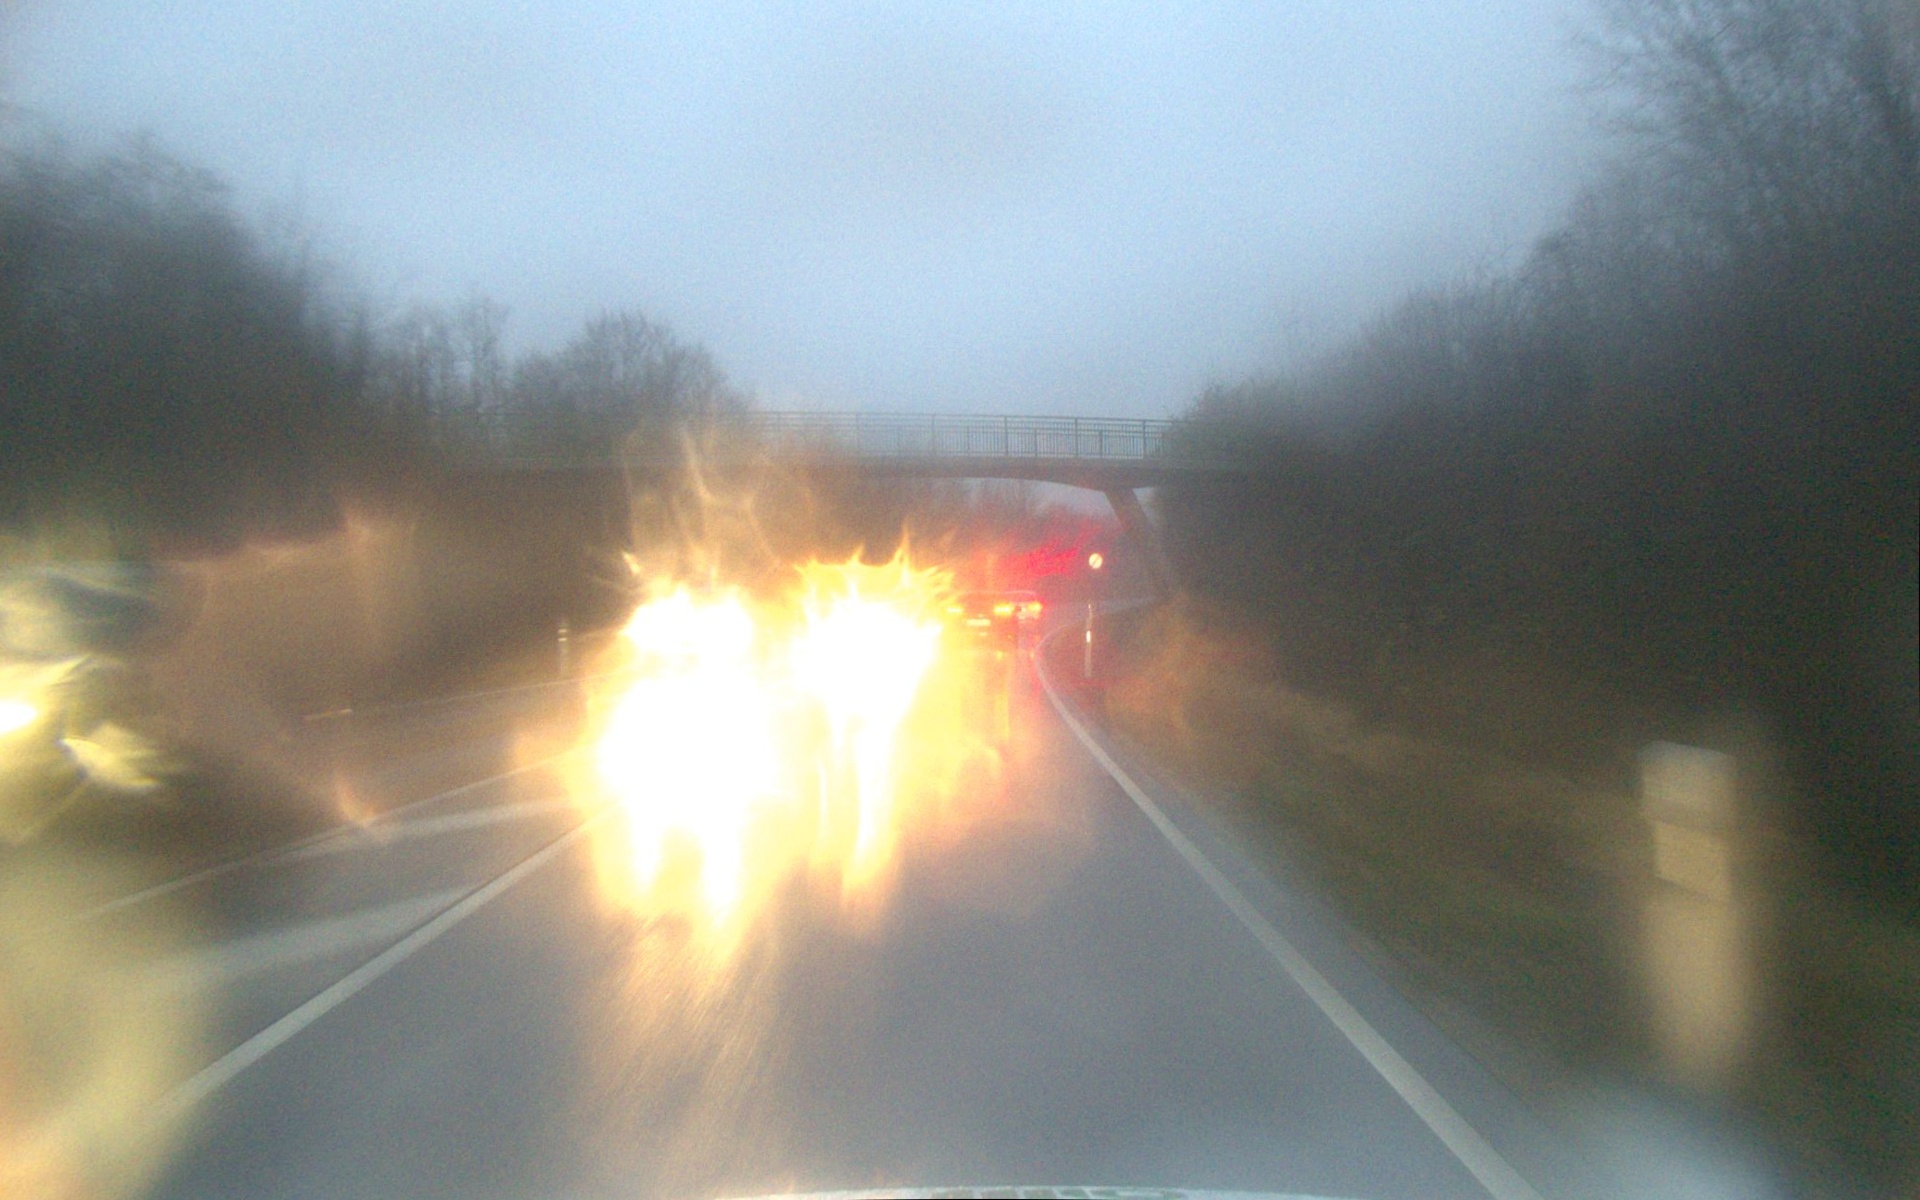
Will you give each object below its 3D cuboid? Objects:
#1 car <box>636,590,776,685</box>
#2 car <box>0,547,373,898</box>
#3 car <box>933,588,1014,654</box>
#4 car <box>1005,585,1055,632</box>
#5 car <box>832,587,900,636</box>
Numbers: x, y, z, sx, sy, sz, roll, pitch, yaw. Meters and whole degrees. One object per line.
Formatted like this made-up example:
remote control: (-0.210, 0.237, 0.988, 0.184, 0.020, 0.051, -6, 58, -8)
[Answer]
car: (-4.752, 0.686, 31.593, 1.821, 1.676, 4.469, 0, -1, 2)
car: (-5.444, 0.560, 10.177, 1.863, 1.677, 4.728, 0, 0, 2)
car: (0.368, 0.450, 38.684, 1.643, 1.414, 4.100, -1, 0, 3)
car: (2.689, 0.294, 63.066, 1.643, 1.704, 4.101, -1, 0, 6)
car: (-2.965, 0.349, 52.805, 1.767, 1.479, 4.380, 0, 0, 2)
